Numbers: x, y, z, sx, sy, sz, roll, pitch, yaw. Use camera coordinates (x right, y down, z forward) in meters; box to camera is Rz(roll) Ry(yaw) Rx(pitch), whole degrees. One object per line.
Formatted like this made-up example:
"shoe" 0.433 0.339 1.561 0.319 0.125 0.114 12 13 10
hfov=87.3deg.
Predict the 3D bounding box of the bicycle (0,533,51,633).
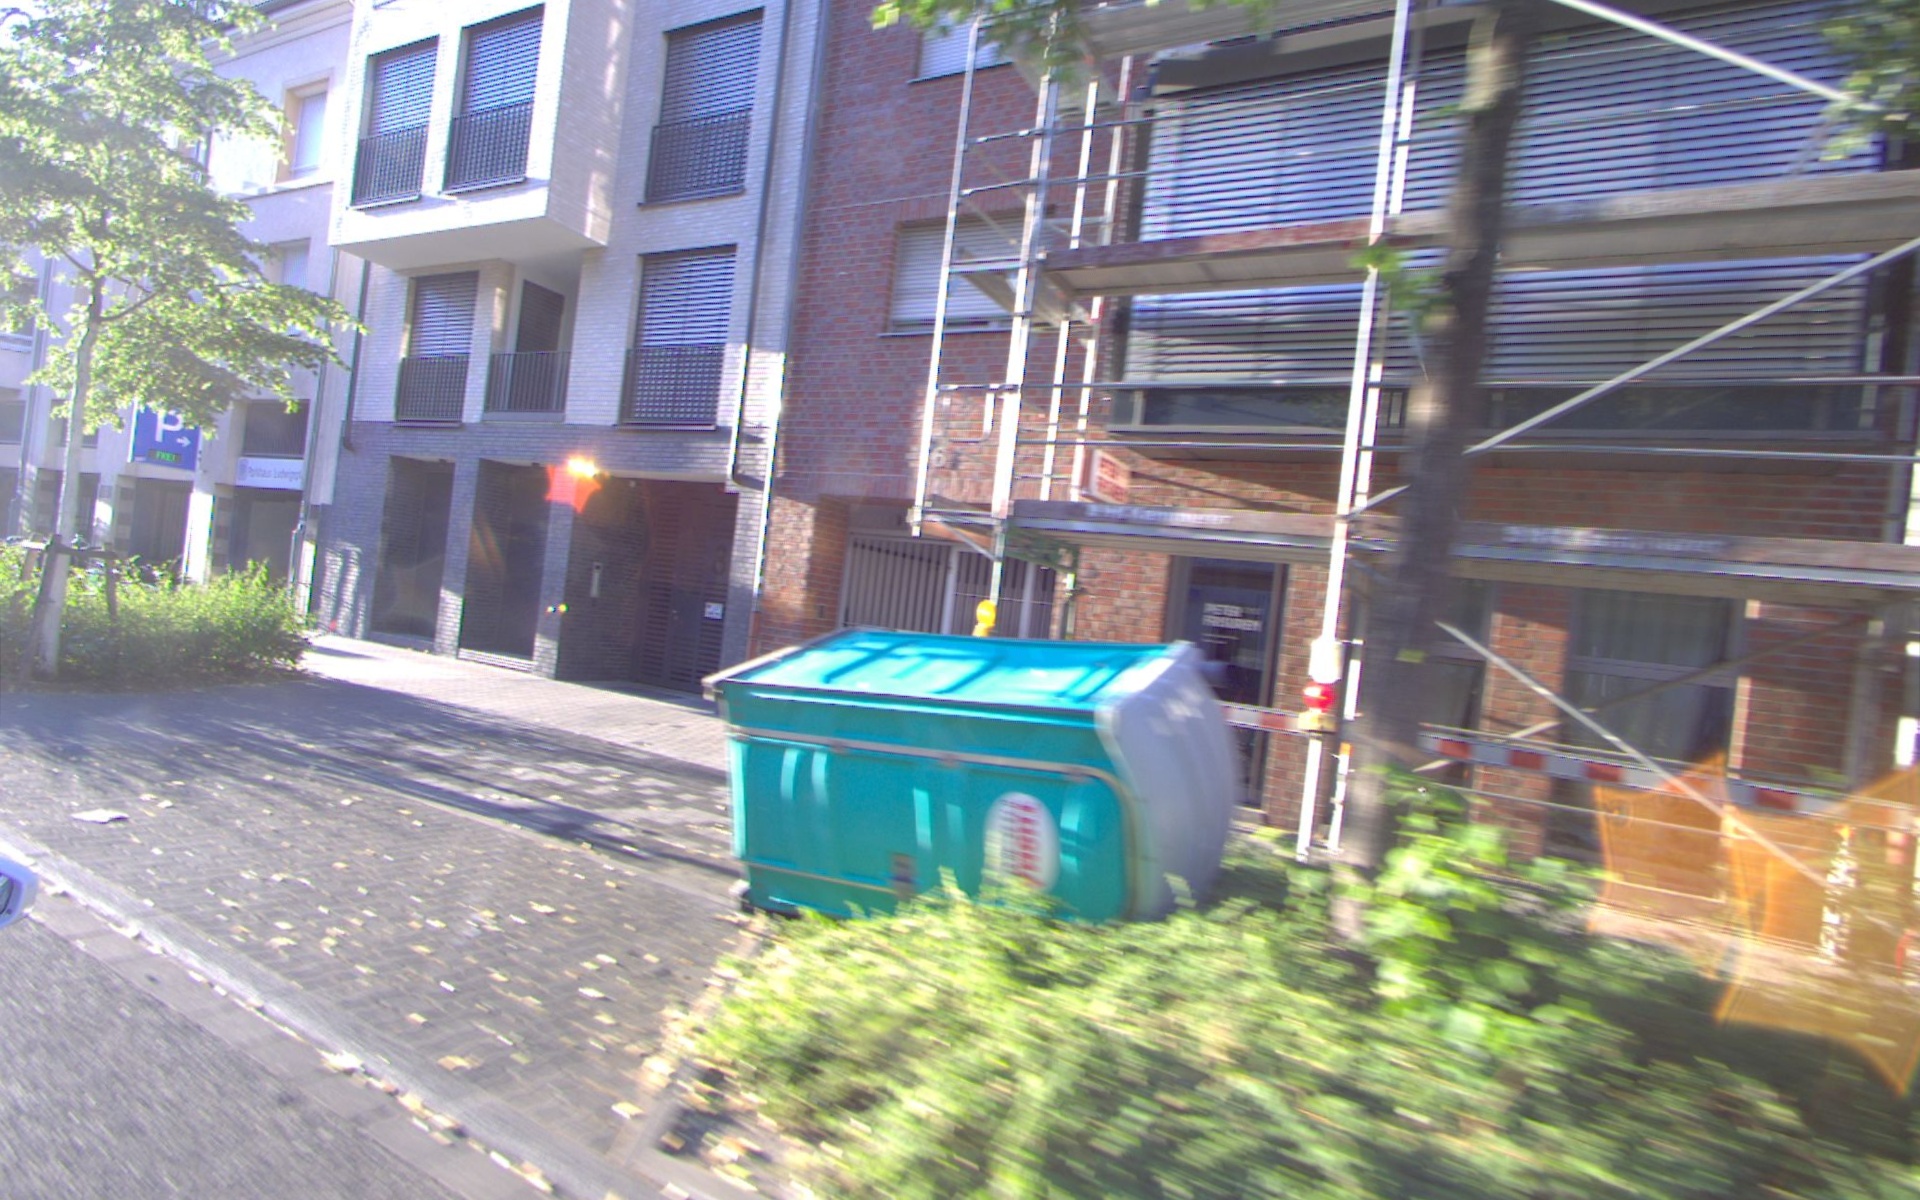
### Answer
"bicycle" -11.654 -0.242 12.166 1.496 1.113 0.383 6 -1 27

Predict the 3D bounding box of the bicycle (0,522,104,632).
"bicycle" -11.303 -0.294 12.478 1.496 1.203 0.383 6 -1 26

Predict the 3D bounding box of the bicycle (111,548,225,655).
"bicycle" -9.537 0.010 12.104 1.496 1.113 0.382 6 0 26

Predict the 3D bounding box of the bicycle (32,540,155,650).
"bicycle" -10.132 -0.066 11.754 1.495 1.113 0.383 7 0 23

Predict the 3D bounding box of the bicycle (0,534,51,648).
"bicycle" -10.264 -0.155 10.374 1.494 1.113 0.383 7 0 9

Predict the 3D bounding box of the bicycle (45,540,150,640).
"bicycle" -10.966 -0.134 12.784 1.496 1.113 0.382 6 0 26
